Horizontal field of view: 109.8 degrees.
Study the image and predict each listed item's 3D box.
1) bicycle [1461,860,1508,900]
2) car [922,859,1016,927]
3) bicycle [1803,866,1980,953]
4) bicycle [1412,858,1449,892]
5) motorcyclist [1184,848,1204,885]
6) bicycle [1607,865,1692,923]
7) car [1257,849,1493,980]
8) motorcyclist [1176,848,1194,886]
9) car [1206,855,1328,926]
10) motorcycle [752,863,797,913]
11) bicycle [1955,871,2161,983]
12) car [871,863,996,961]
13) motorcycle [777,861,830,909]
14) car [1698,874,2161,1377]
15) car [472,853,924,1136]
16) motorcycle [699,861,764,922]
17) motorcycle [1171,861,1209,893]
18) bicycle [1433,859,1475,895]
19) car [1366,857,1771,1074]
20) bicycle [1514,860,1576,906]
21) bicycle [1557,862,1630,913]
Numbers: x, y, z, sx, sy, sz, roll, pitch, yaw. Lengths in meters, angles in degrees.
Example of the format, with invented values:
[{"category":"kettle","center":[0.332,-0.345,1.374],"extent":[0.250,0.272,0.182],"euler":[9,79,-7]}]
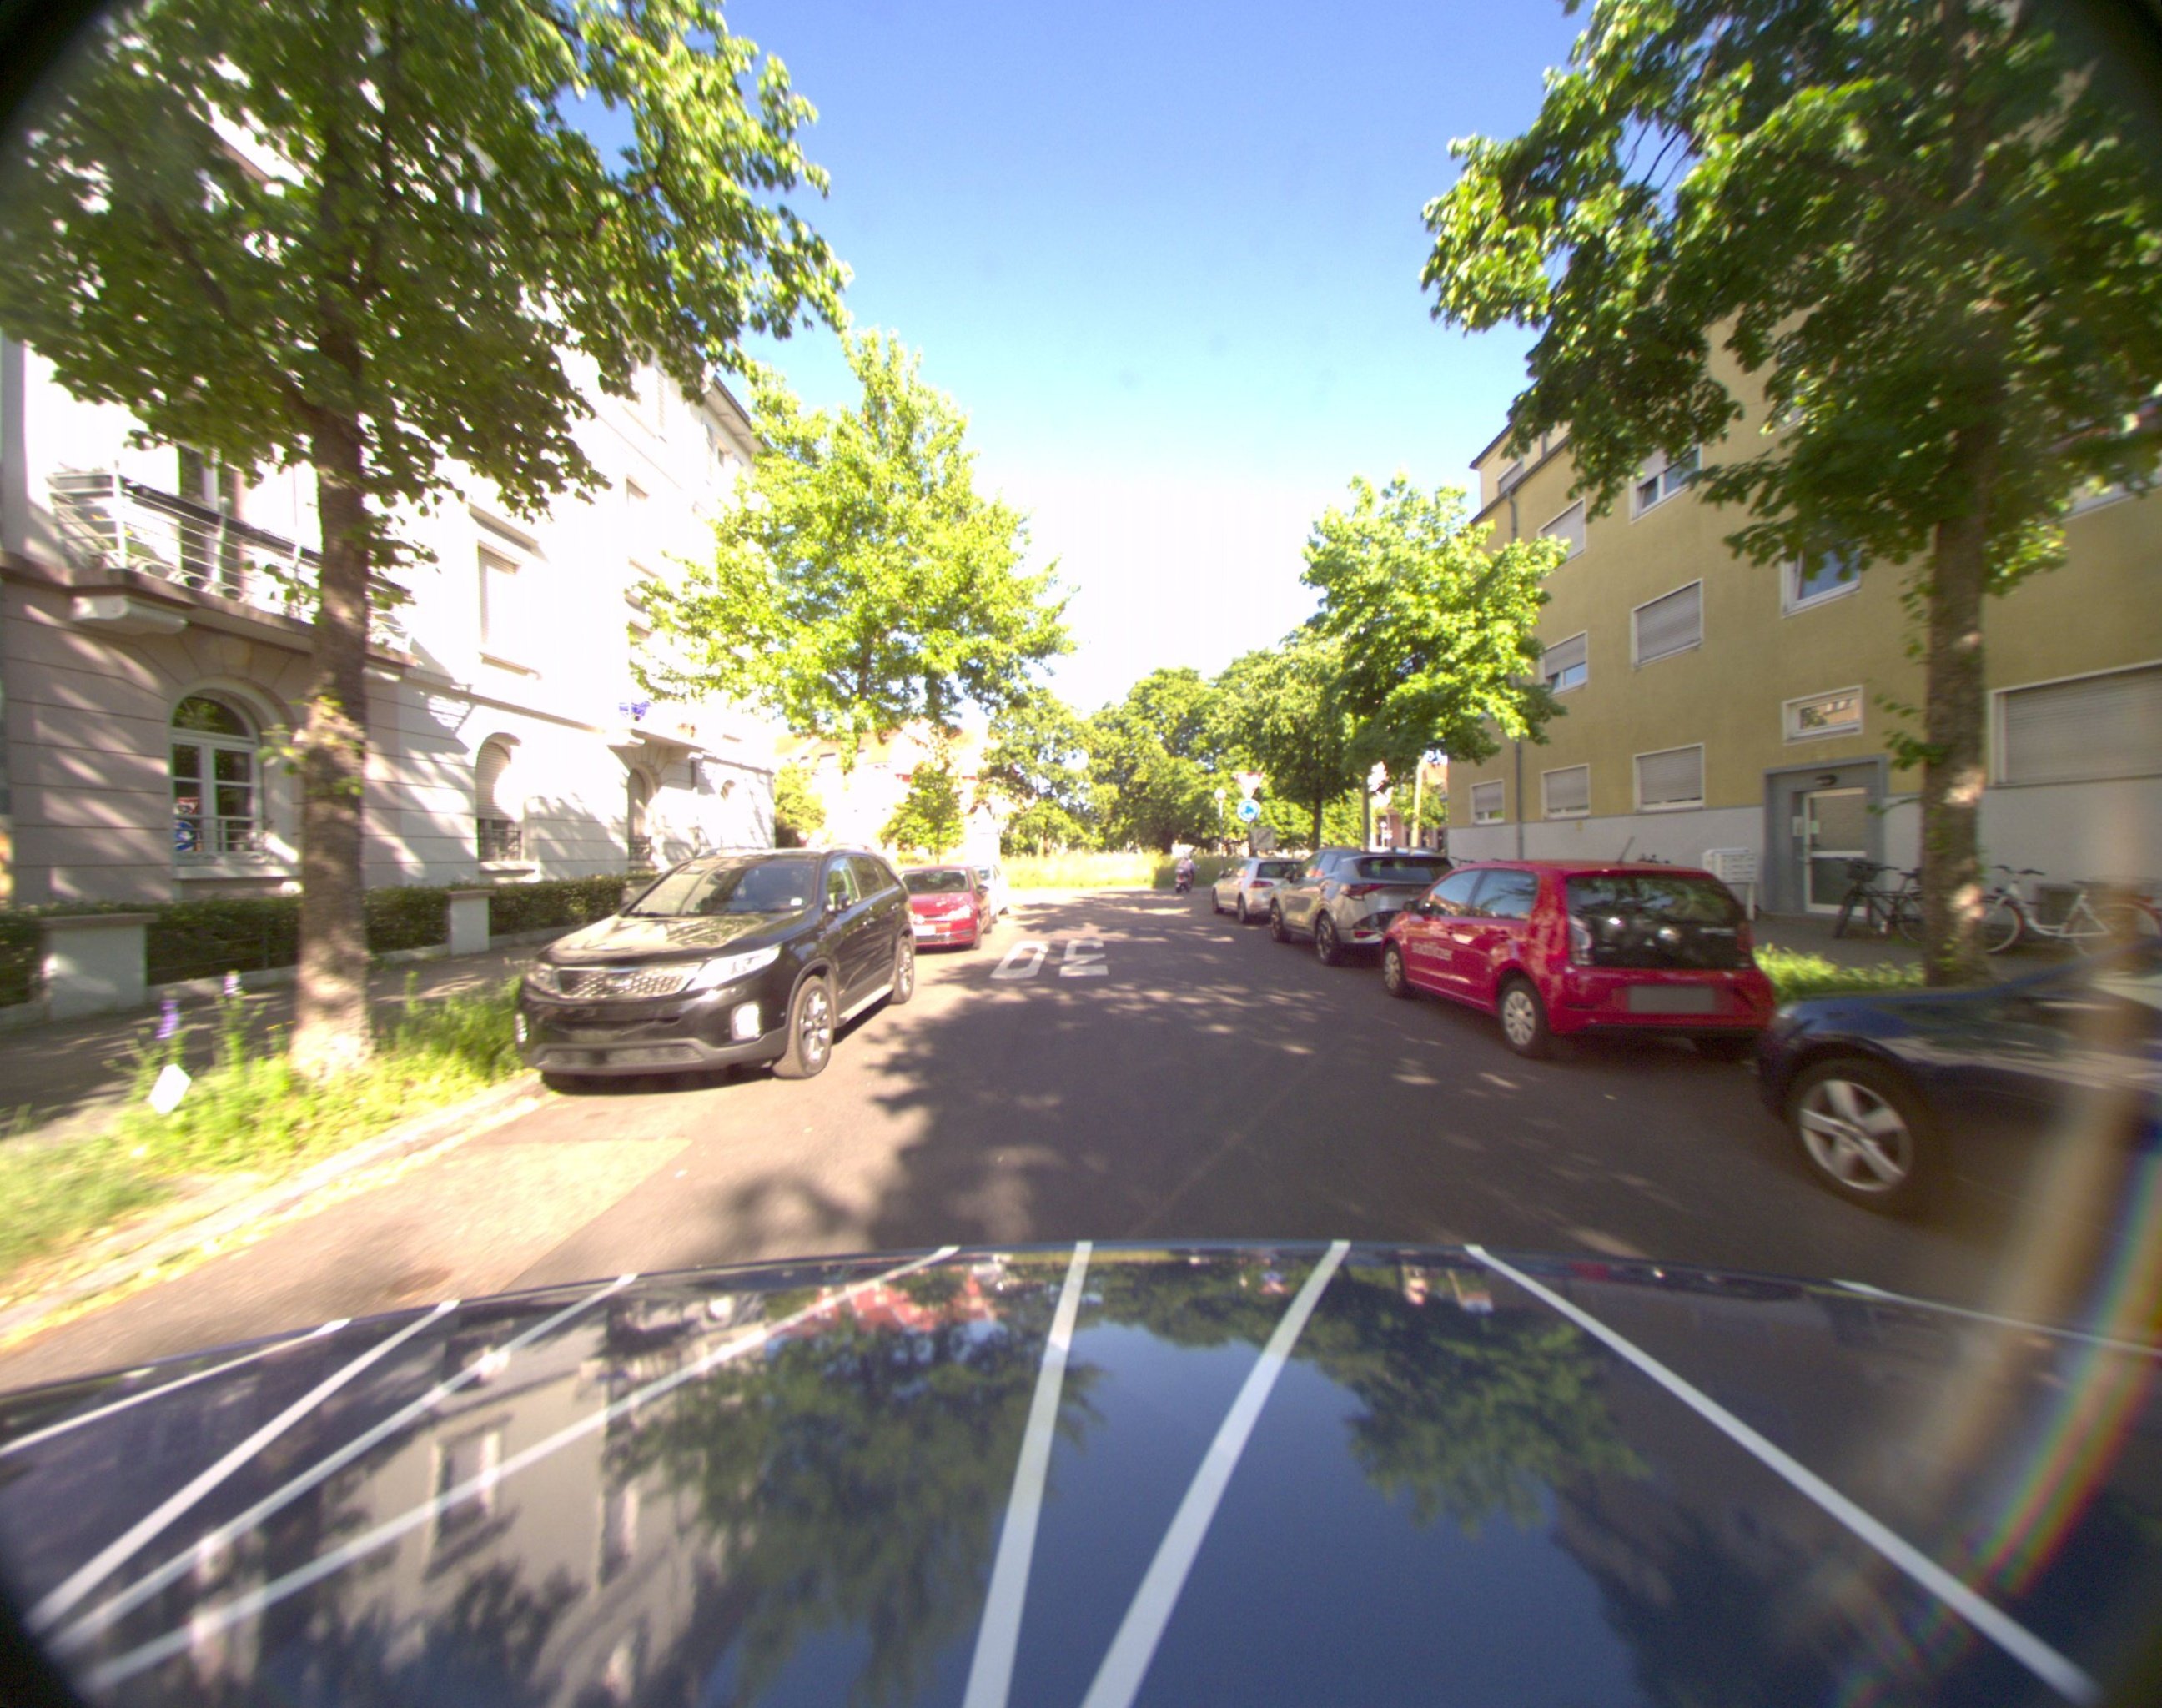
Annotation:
[{"category":"bicycle","center":[10.677,0.664,20.145],"extent":[0.454,0.995,1.545],"euler":[-1,0,1]},{"category":"car","center":[-2.629,0.867,18.691],"extent":[1.657,1.394,4.135],"euler":[-1,0,0]},{"category":"bicycle","center":[10.743,0.696,10.166],"extent":[0.541,1.021,1.748],"euler":[-1,0,2]},{"category":"bicycle","center":[10.775,0.644,23.471],"extent":[0.477,0.995,1.545],"euler":[-1,0,1]},{"category":"motorcyclist","center":[4.365,0.489,29.378],"extent":[0.521,1.395,0.553],"euler":[-2,1,-43]},{"category":"bicycle","center":[10.568,0.723,14.182],"extent":[0.516,0.995,1.545],"euler":[-1,0,4]},{"category":"car","center":[4.108,0.729,11.573],"extent":[1.696,1.556,4.735],"euler":[-1,0,-1]},{"category":"motorcyclist","center":[3.978,0.486,29.074],"extent":[0.404,1.418,0.544],"euler":[-2,1,-44]},{"category":"car","center":[4.248,0.773,17.993],"extent":[1.765,1.434,3.993],"euler":[-1,0,-2]},{"category":"motorcycle","center":[-8.356,0.909,20.785],"extent":[0.658,1.272,1.799],"euler":[0,0,-6]},{"category":"bicycle","center":[10.720,0.730,8.233],"extent":[0.537,1.021,1.748],"euler":[-1,0,3]},{"category":"car","center":[-2.504,0.914,13.851],"extent":[1.616,1.401,4.350],"euler":[-1,0,-3]},{"category":"motorcycle","center":[-8.243,0.881,22.654],"extent":[0.973,1.321,1.852],"euler":[-2,1,-4]},{"category":"car","center":[4.105,0.852,2.090],"extent":[1.669,1.450,3.932],"euler":[-1,0,1]},{"category":"car","center":[-2.761,0.850,6.752],"extent":[1.785,1.688,4.297],"euler":[-1,0,0]},{"category":"motorcycle","center":[-8.431,0.878,18.424],"extent":[0.540,1.353,2.089],"euler":[-1,0,1]},{"category":"motorcycle","center":[4.208,0.859,29.260],"extent":[1.636,1.168,0.553],"euler":[-2,1,-44]},{"category":"bicycle","center":[10.696,0.646,21.829],"extent":[0.476,0.995,1.545],"euler":[-1,0,1]},{"category":"car","center":[4.053,0.797,6.990],"extent":[1.669,1.477,3.256],"euler":[-1,0,1]},{"category":"bicycle","center":[10.791,0.653,17.728],"extent":[0.435,0.995,1.681],"euler":[-1,0,1]},{"category":"bicycle","center":[10.656,0.669,15.847],"extent":[0.513,0.995,1.545],"euler":[-1,0,1]}]
